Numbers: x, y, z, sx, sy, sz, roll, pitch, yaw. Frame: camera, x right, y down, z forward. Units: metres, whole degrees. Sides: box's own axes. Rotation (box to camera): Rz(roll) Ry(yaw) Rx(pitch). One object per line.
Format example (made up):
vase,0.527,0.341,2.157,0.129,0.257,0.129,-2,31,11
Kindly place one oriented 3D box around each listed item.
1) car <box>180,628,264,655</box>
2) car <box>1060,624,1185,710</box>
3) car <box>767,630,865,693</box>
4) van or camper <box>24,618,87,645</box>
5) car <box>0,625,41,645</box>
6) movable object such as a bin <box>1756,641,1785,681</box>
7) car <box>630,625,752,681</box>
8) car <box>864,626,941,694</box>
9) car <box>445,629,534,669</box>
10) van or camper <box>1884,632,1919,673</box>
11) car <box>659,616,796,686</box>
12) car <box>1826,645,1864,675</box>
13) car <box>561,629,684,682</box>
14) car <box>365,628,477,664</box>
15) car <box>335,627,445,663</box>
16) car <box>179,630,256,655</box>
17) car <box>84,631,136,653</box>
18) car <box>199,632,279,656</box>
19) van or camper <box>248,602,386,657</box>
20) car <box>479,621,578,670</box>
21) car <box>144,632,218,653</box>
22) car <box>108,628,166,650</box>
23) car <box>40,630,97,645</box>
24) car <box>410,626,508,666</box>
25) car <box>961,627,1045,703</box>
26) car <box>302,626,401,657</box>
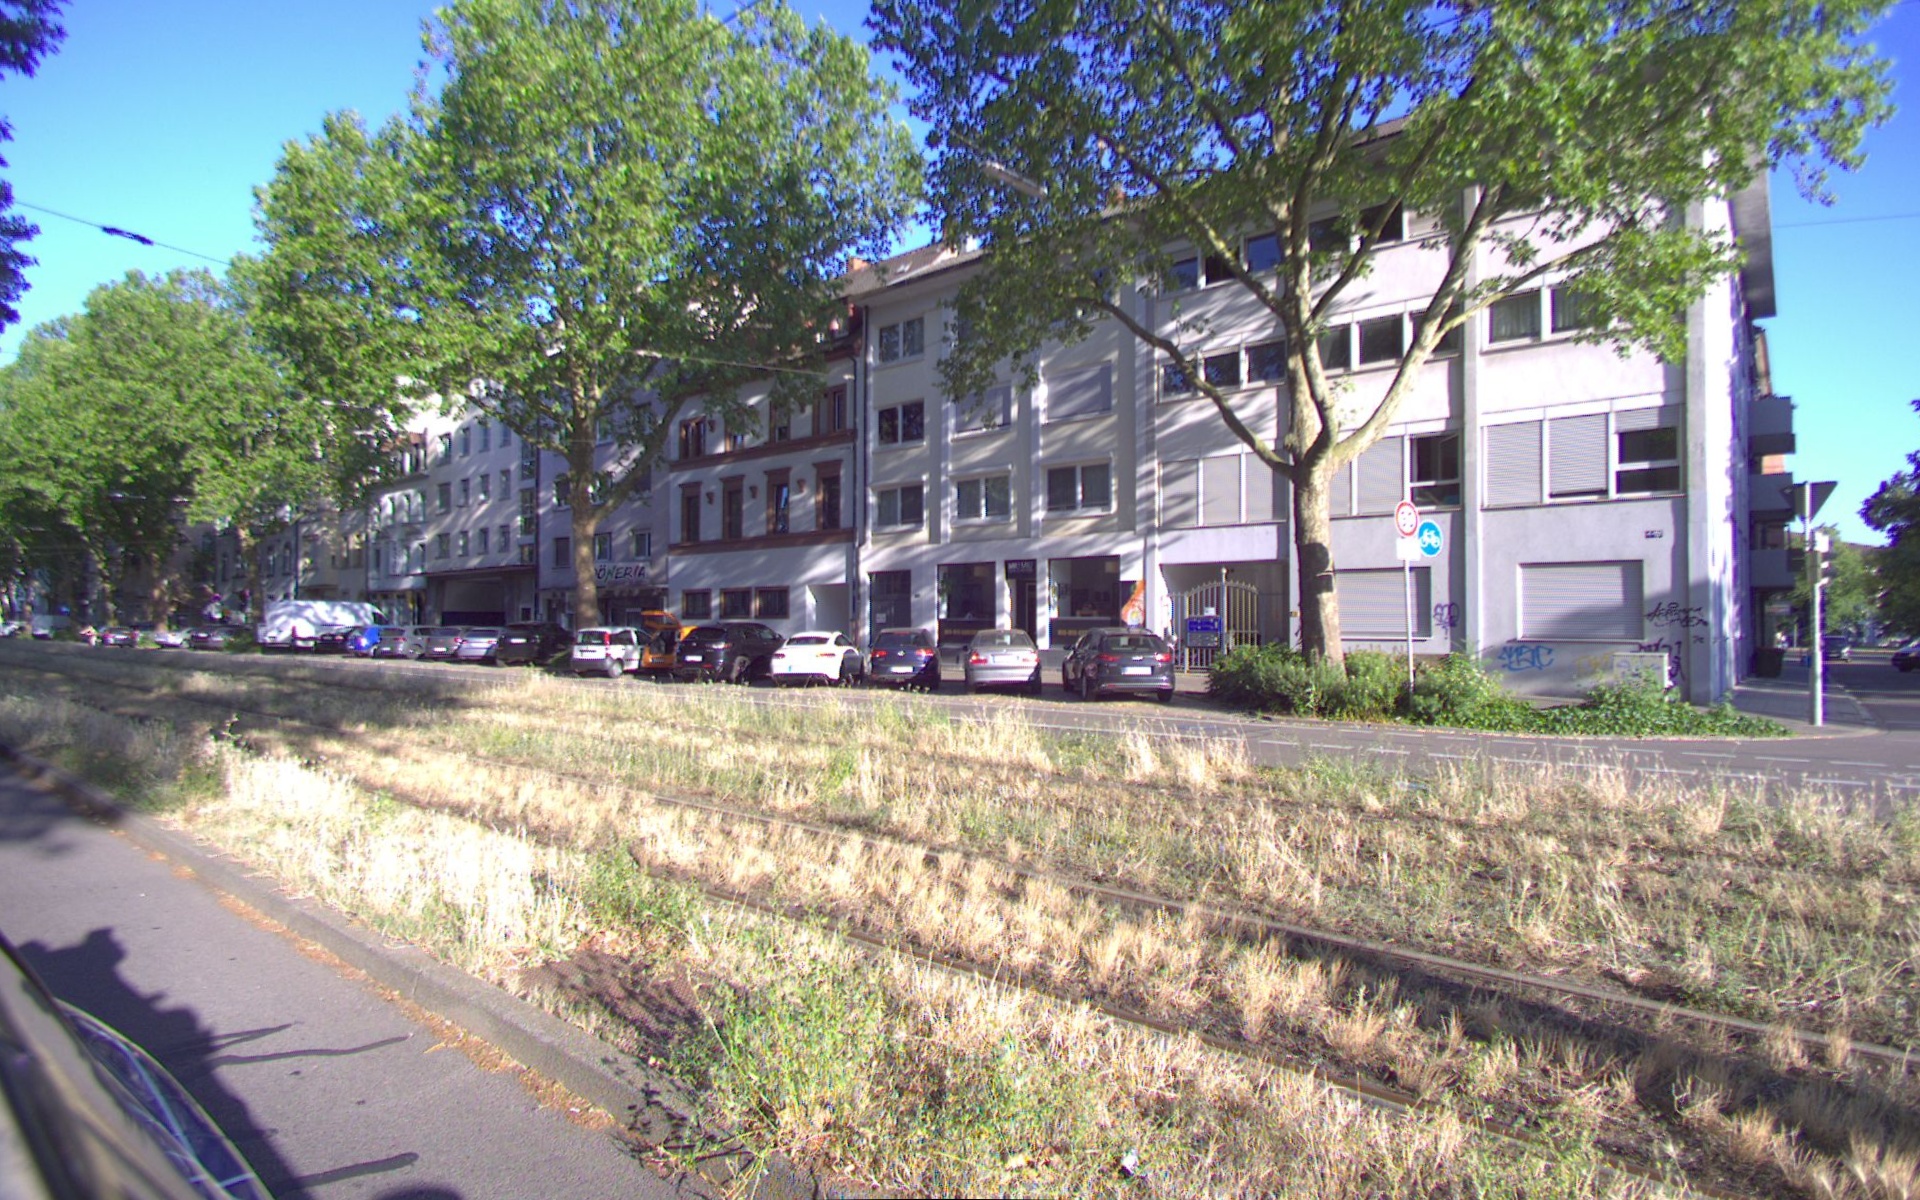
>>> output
car,-45.525,2.588,62.541,1.912,1.605,4.155,0,-4,4
car,3.302,1.324,21.283,1.791,1.490,4.002,-1,0,-2
car,-3.687,1.561,26.682,1.700,1.343,4.200,-1,0,4
van or camper,-88.319,3.066,98.884,2.171,2.418,4.364,-1,1,0
car,-107.378,3.956,115.146,1.971,2.029,4.002,-1,0,-2
movable object such as a bin,27.831,2.084,34.738,0.745,1.315,0.861,-1,-2,39
car,-8.355,1.607,31.789,1.764,1.490,3.974,-1,0,20
car,-1.434,1.447,25.677,1.776,1.452,4.002,-1,0,-3
car,-18.294,1.868,39.576,1.883,1.396,4.004,-1,-1,-5
van or camper,50.092,2.624,50.780,5.082,2.029,1.992,0,-2,13
car,-6.453,1.449,28.600,1.975,1.800,4.343,1,-3,14
car,63.365,4.235,72.465,1.999,2.029,3.945,-1,-2,41
car,-10.456,1.675,31.690,1.643,1.460,4.345,0,-1,14
car,-23.596,1.999,44.429,1.941,1.503,3.964,-1,-2,27
car,-25.939,2.000,46.171,1.854,1.431,3.951,-1,0,36
car,-47.724,2.764,65.169,1.803,1.545,3.994,0,-3,4
car,-56.557,2.775,67.311,4.480,1.400,1.802,-1,-4,40
car,-42.997,2.618,60.439,1.778,1.368,4.002,0,-3,3
van or camper,-33.105,1.539,52.362,2.162,2.666,5.929,-1,-2,19
car,-15.677,1.620,37.013,1.972,1.673,4.000,-1,-1,-1
car,-51.781,2.807,67.335,1.806,1.400,3.670,0,-2,9
car,-63.506,3.013,78.199,1.703,1.666,4.008,0,-2,-10
car,-86.013,3.602,97.681,1.709,1.256,3.993,-1,1,6
car,-20.532,1.865,41.663,1.735,1.433,3.993,-1,0,6
car,0.907,1.409,23.272,1.698,1.452,4.000,-1,0,-1
car,-30.740,2.110,51.250,1.984,1.502,3.975,-1,-2,18
